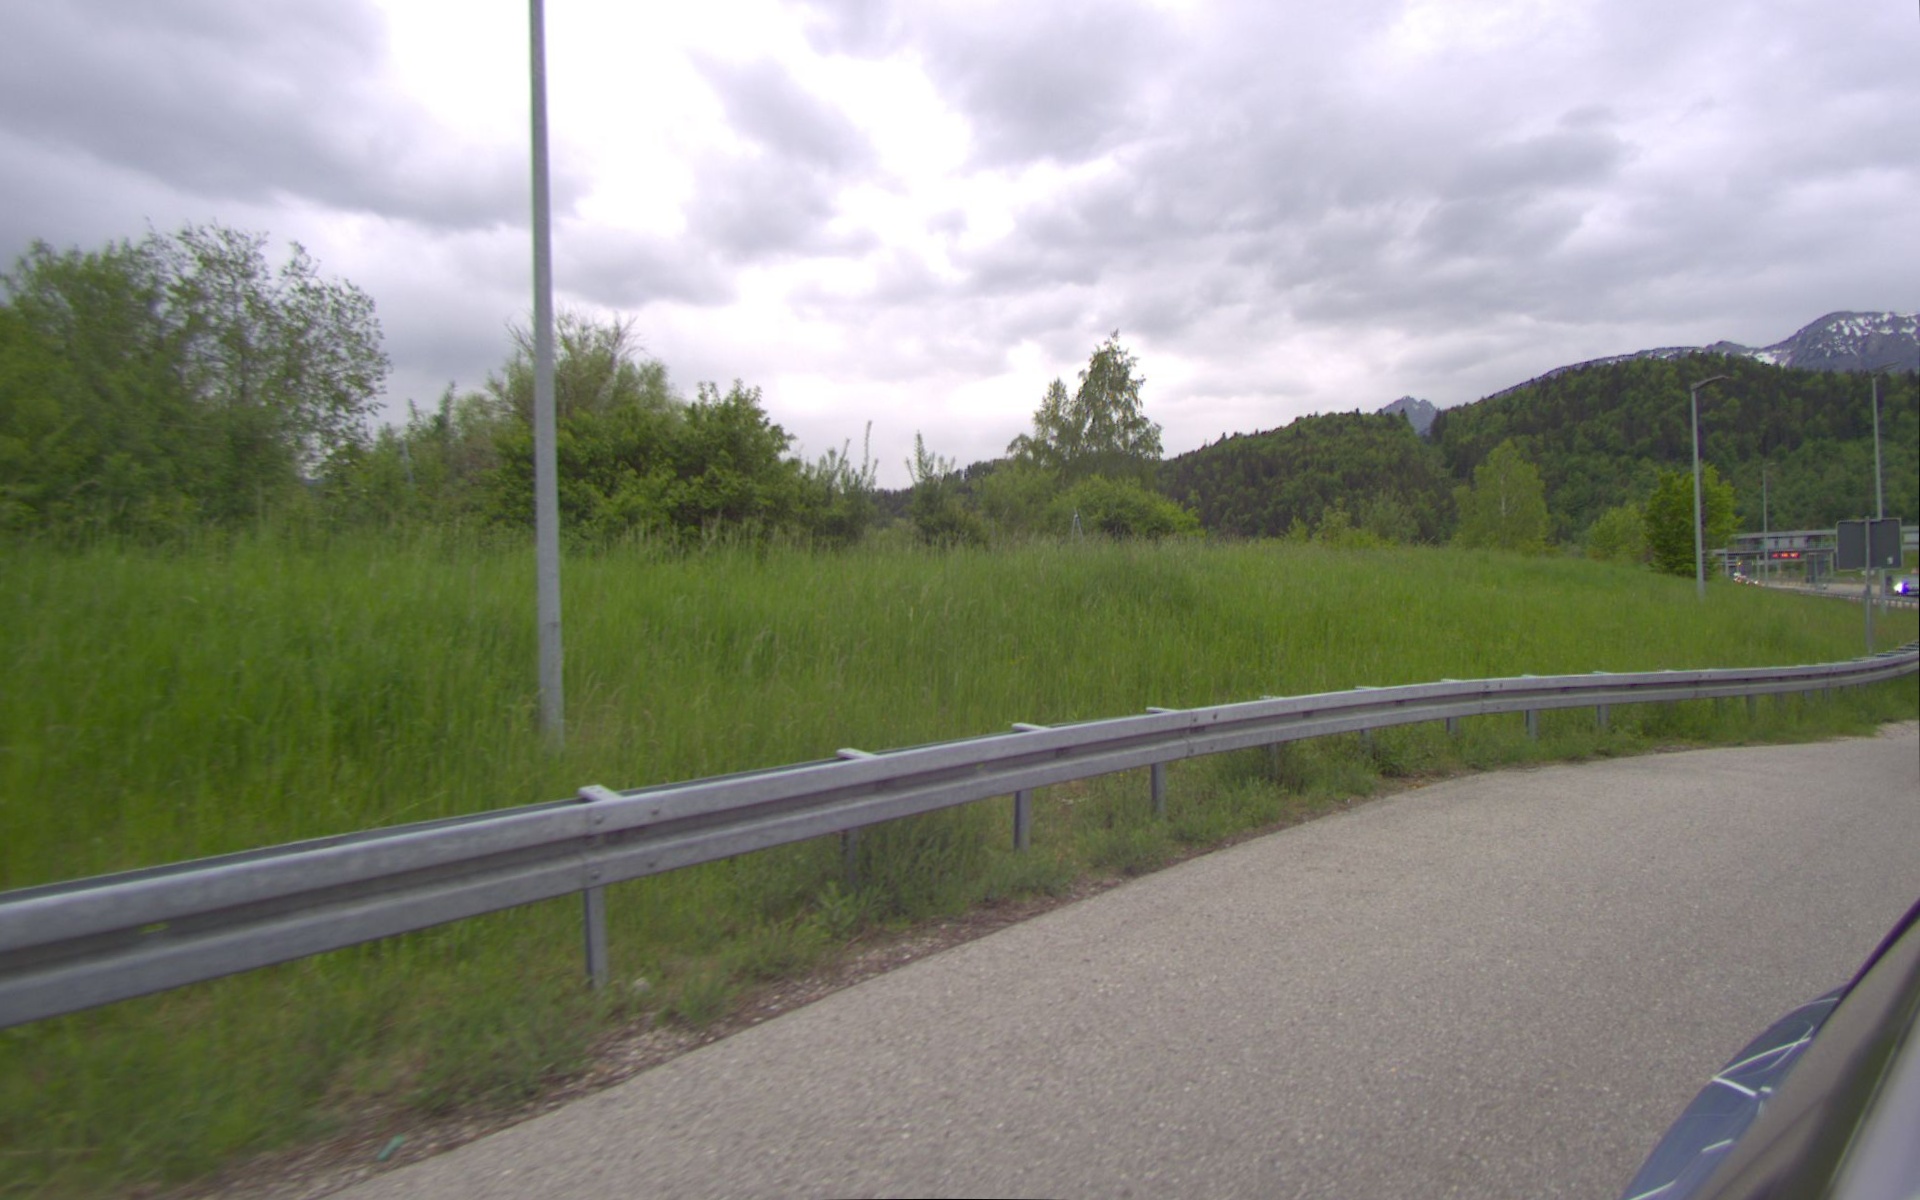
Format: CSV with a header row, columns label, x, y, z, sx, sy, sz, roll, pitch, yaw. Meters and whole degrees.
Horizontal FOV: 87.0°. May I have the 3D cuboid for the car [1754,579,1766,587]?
label,x,y,z,sx,sy,sz,roll,pitch,yaw
car,160.305,-3.408,202.868,1.727,1.677,3.948,1,1,36

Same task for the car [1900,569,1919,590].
label,x,y,z,sx,sy,sz,roll,pitch,yaw
car,76.412,-1.623,80.463,1.710,1.659,4.296,1,2,34
